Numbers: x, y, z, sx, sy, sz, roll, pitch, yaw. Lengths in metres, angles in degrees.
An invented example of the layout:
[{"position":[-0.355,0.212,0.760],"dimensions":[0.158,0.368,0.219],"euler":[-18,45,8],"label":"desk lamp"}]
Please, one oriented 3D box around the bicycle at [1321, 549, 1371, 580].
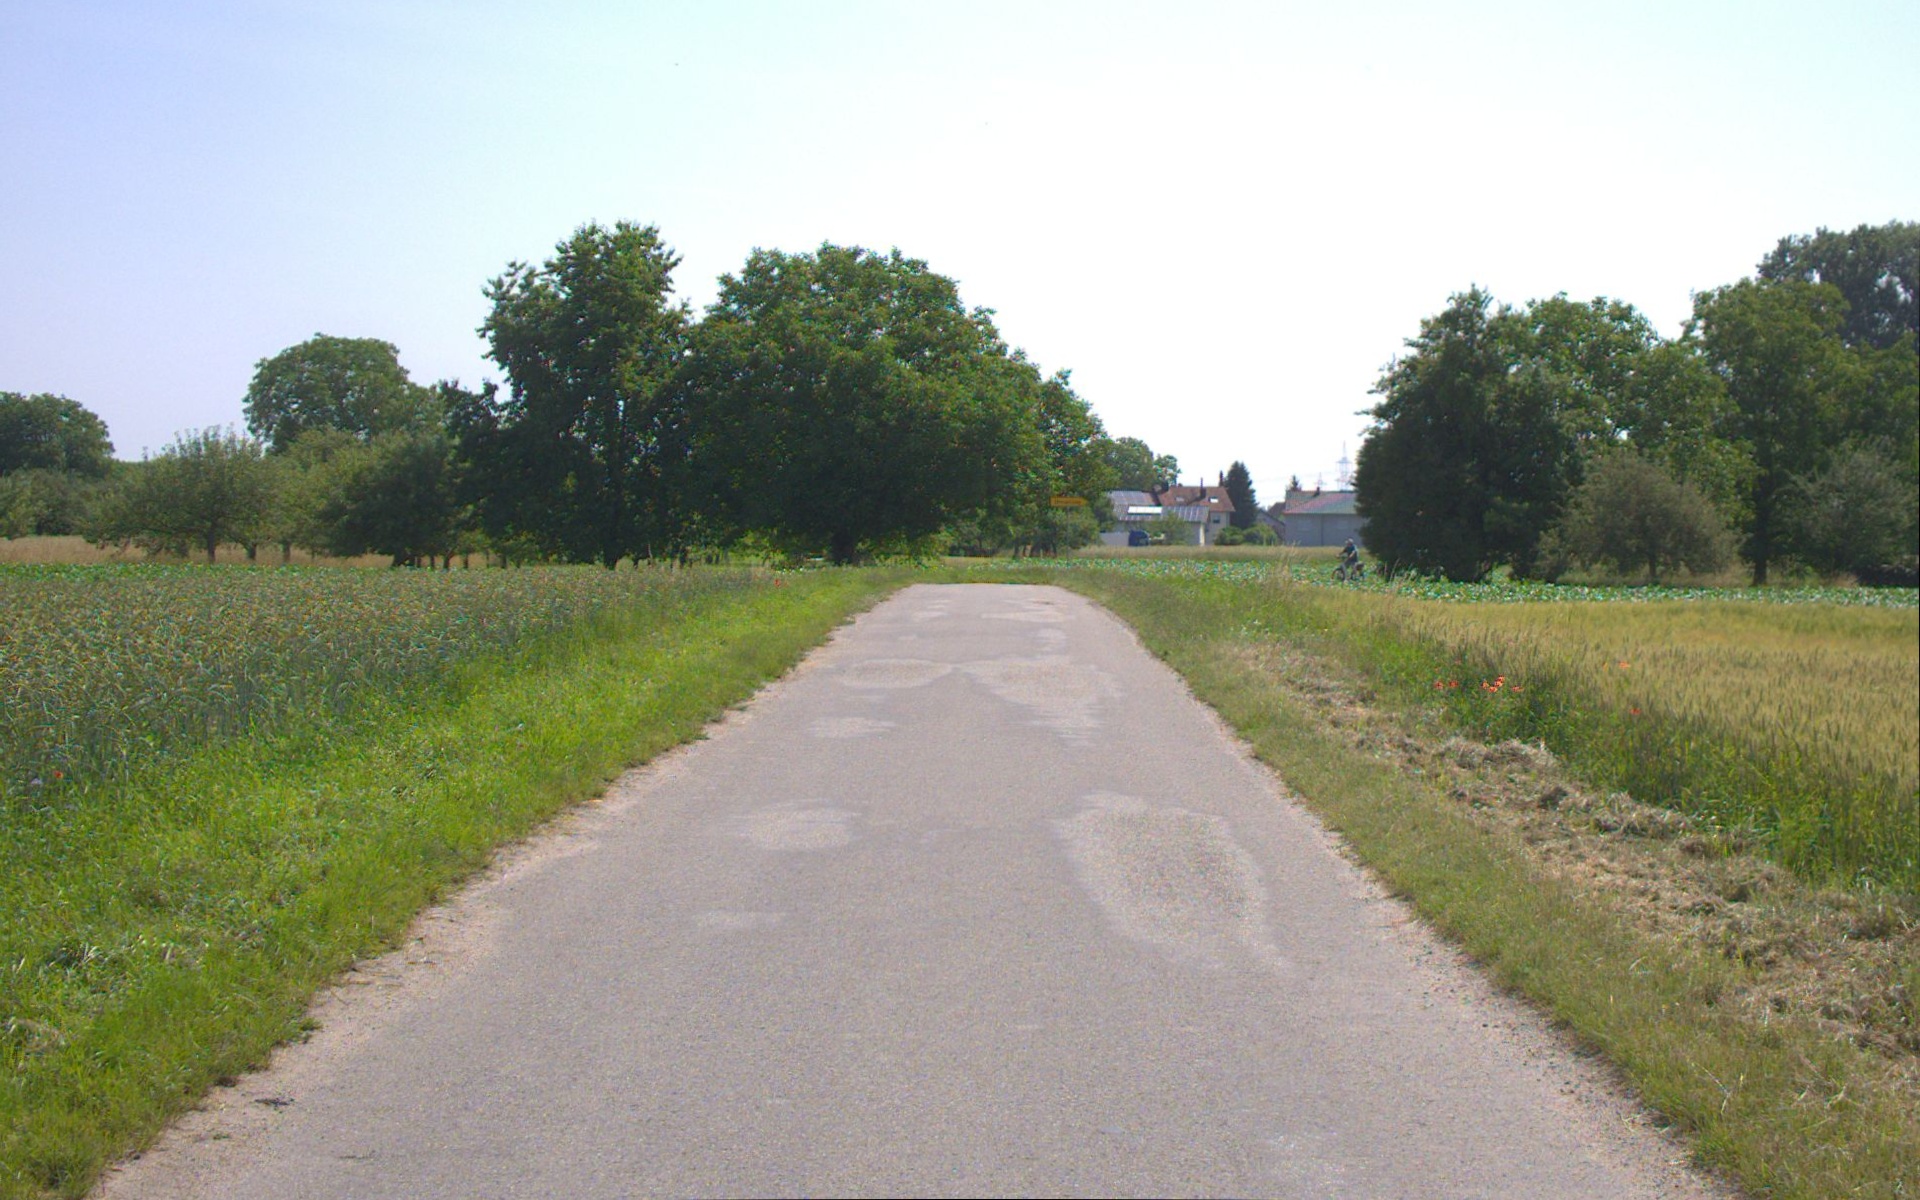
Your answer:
[{"position":[14.262,-1.315,127.026],"dimensions":[1.903,1.123,0.752],"euler":[-1,1,-42],"label":"bicycle"}]
